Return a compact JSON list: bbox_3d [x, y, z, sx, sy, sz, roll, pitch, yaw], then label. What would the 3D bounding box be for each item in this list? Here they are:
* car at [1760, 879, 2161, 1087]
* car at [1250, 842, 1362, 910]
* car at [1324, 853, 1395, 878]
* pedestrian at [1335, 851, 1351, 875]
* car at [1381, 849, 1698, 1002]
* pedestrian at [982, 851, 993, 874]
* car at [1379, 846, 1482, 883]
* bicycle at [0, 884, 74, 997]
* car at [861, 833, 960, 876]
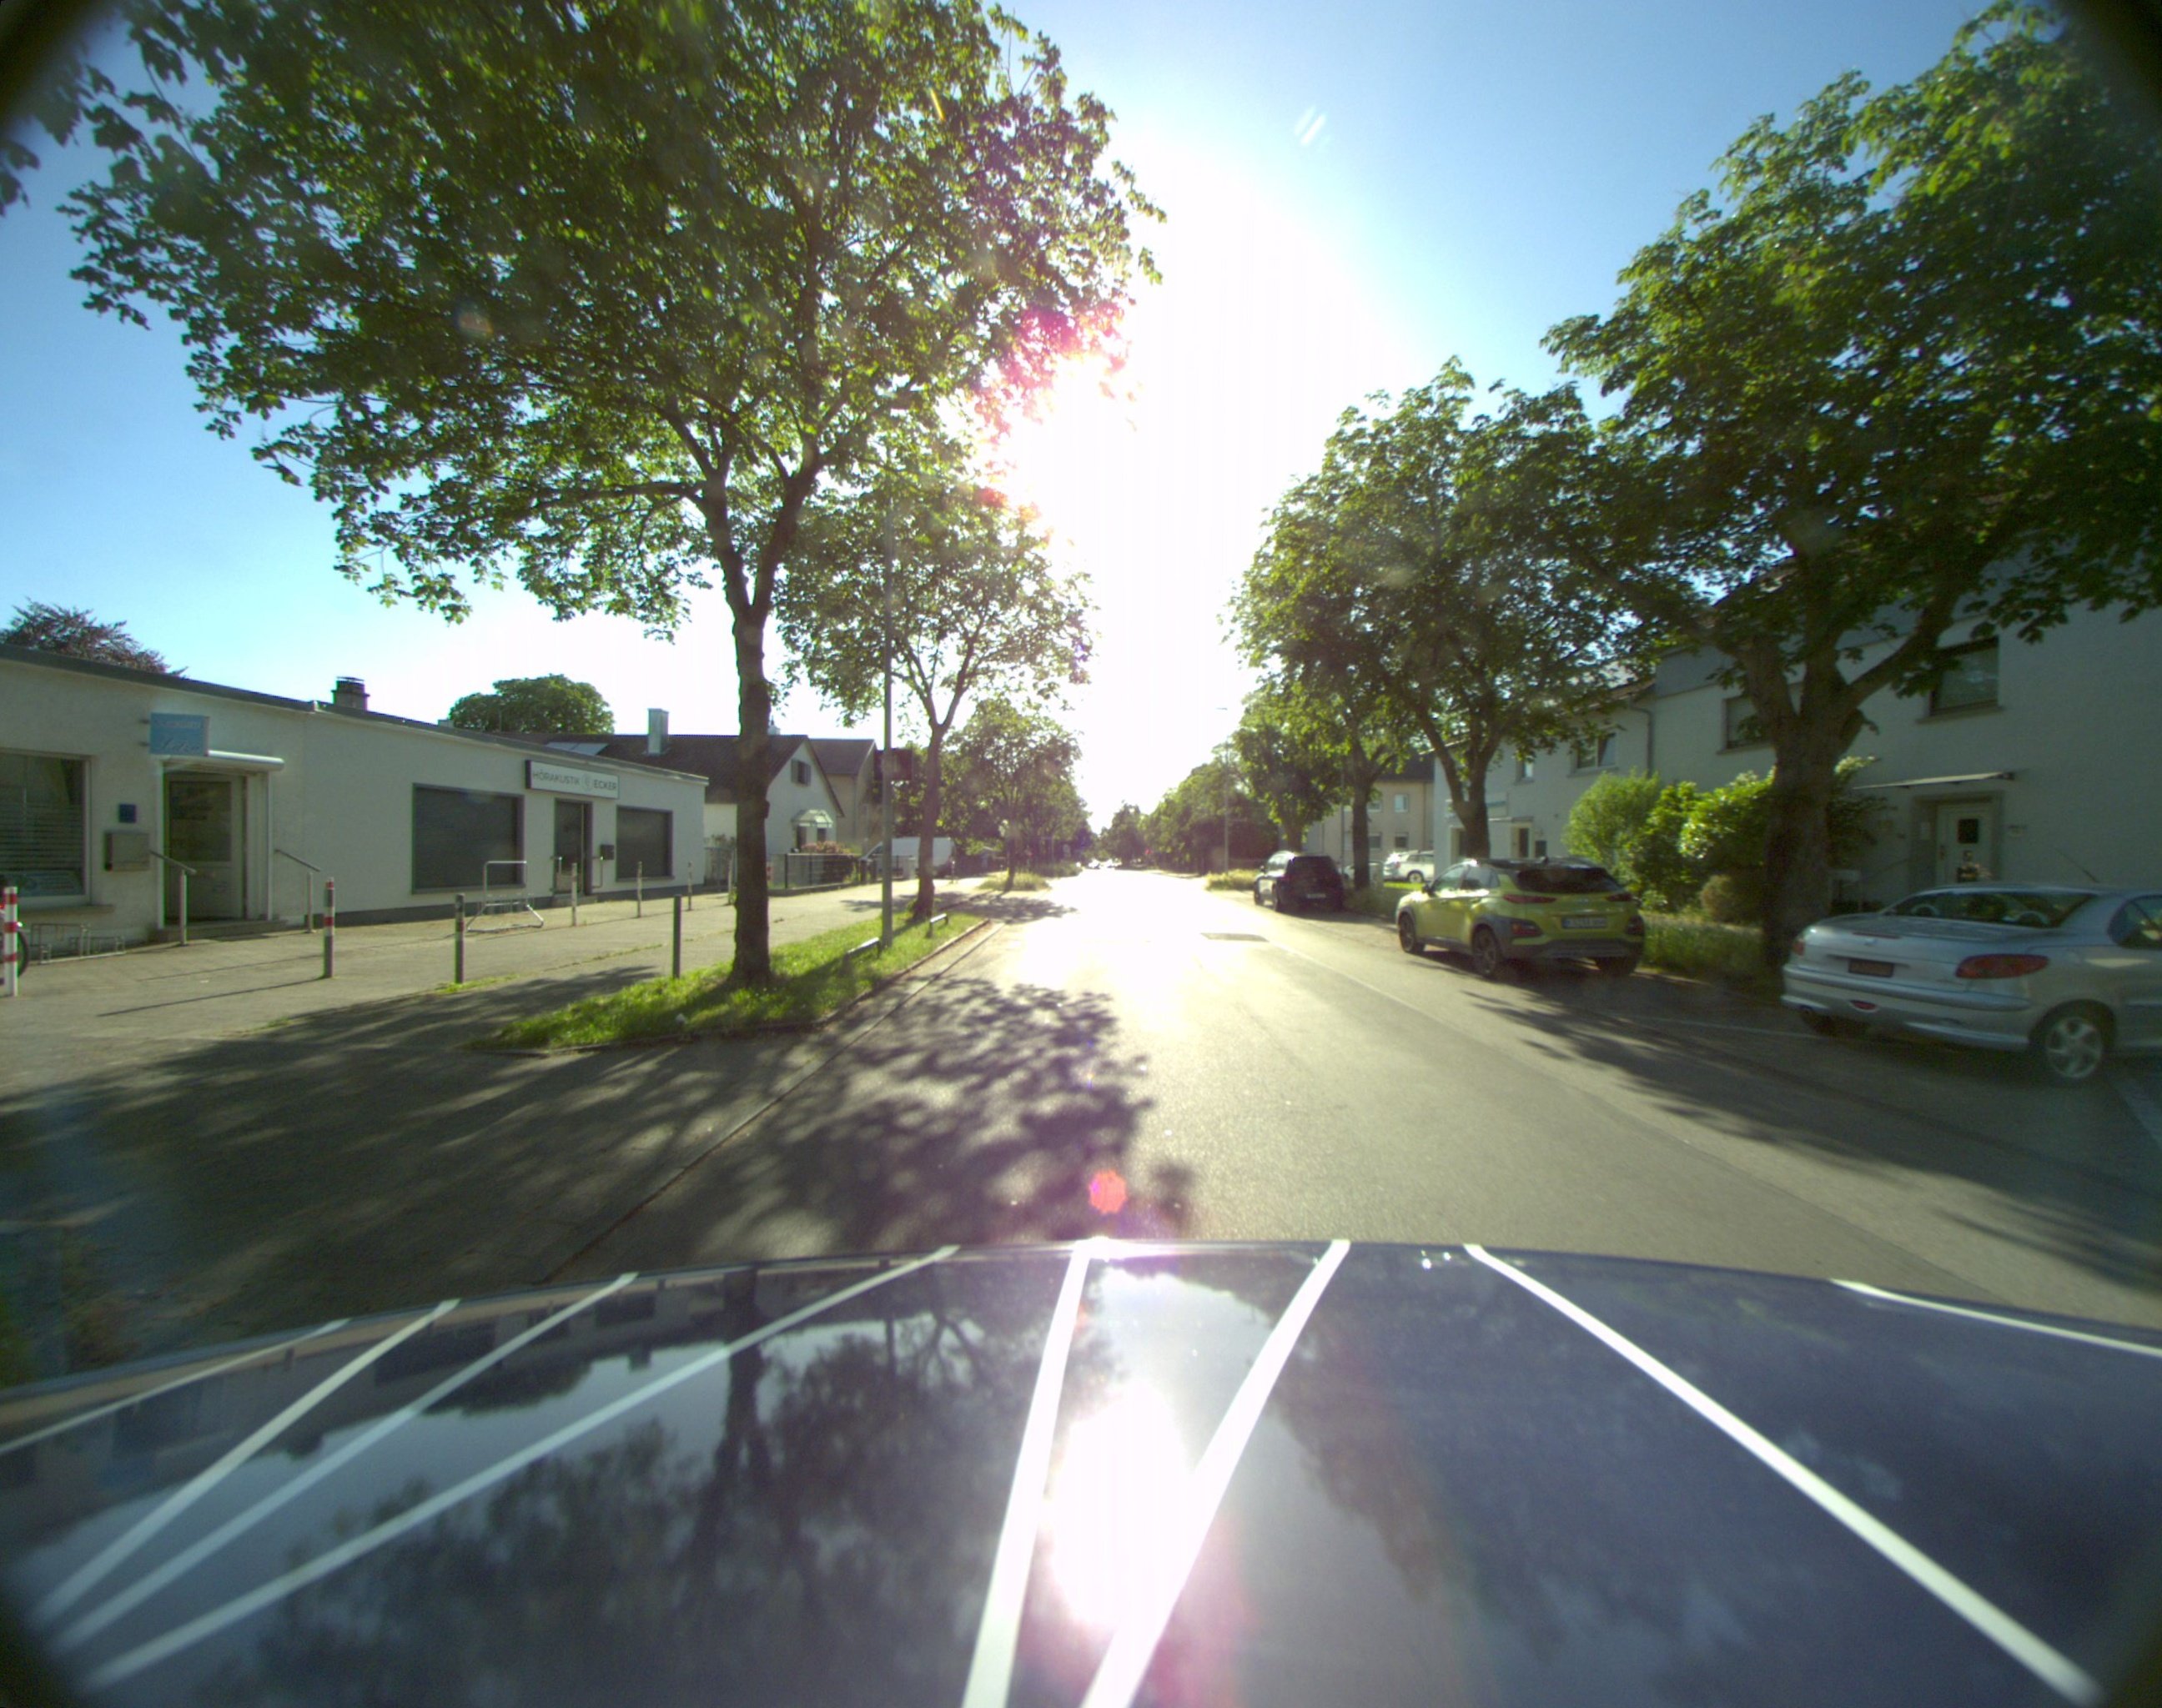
[{"bbox_3d":[7.853,0.879,5.854,3.774,1.293,1.612,-1,-1,0],"label":"car"},{"bbox_3d":[6.383,0.601,22.144,1.958,1.716,4.876,-1,-1,2],"label":"car"},{"bbox_3d":[17.415,0.735,47.587,3.776,1.470,1.871,1,-1,-1],"label":"car"},{"bbox_3d":[17.065,0.612,49.505,0.785,1.544,0.639,-1,-1,-2],"label":"pedestrian"},{"bbox_3d":[5.982,0.790,10.683,1.943,1.599,4.383,-1,1,2],"label":"car"},{"bbox_3d":[-7.072,0.631,57.358,0.638,1.695,0.612,3,-1,0],"label":"pedestrian"},{"bbox_3d":[18.229,0.591,39.775,4.501,1.826,2.001,1,-2,-2],"label":"car"},{"bbox_3d":[-10.752,0.774,7.062,1.963,0.992,0.576,2,-1,0],"label":"bicycle"},{"bbox_3d":[-10.416,0.051,46.840,5.610,2.524,2.265,0,0,-2],"label":"car"}]
